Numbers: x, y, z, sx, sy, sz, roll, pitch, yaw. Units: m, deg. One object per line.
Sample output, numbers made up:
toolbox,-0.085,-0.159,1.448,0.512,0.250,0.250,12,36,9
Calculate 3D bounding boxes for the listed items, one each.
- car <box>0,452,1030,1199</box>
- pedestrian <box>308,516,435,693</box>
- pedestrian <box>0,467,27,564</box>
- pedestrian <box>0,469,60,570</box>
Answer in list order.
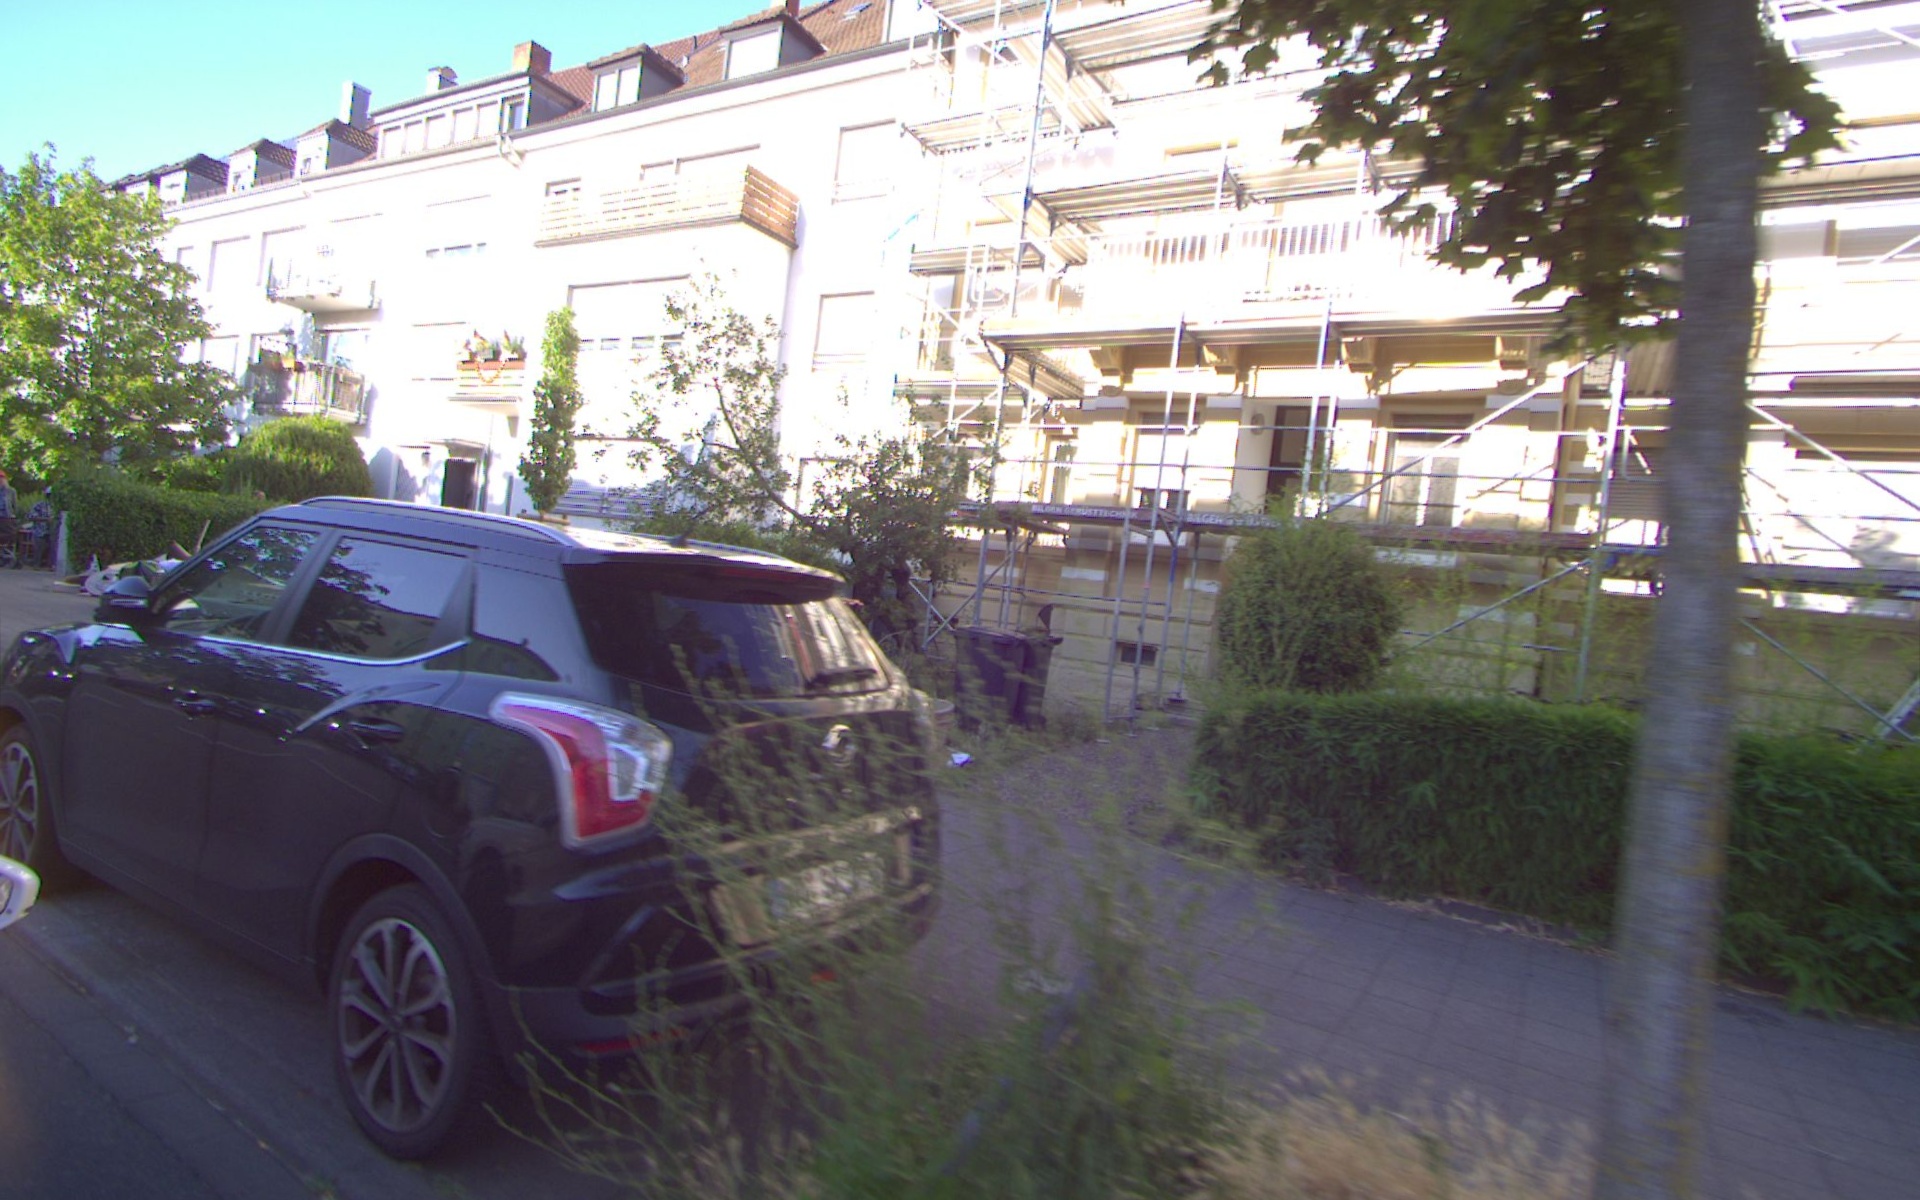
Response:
car,-1.974,0.457,3.844,3.962,1.653,1.793,7,2,31
pedestrian,-5.671,0.045,9.713,0.734,1.587,0.557,7,1,14
pedestrian,-17.471,-1.548,18.255,0.518,1.718,0.511,7,1,27
pedestrian,-16.688,-1.432,18.048,0.518,1.718,0.511,7,1,27
